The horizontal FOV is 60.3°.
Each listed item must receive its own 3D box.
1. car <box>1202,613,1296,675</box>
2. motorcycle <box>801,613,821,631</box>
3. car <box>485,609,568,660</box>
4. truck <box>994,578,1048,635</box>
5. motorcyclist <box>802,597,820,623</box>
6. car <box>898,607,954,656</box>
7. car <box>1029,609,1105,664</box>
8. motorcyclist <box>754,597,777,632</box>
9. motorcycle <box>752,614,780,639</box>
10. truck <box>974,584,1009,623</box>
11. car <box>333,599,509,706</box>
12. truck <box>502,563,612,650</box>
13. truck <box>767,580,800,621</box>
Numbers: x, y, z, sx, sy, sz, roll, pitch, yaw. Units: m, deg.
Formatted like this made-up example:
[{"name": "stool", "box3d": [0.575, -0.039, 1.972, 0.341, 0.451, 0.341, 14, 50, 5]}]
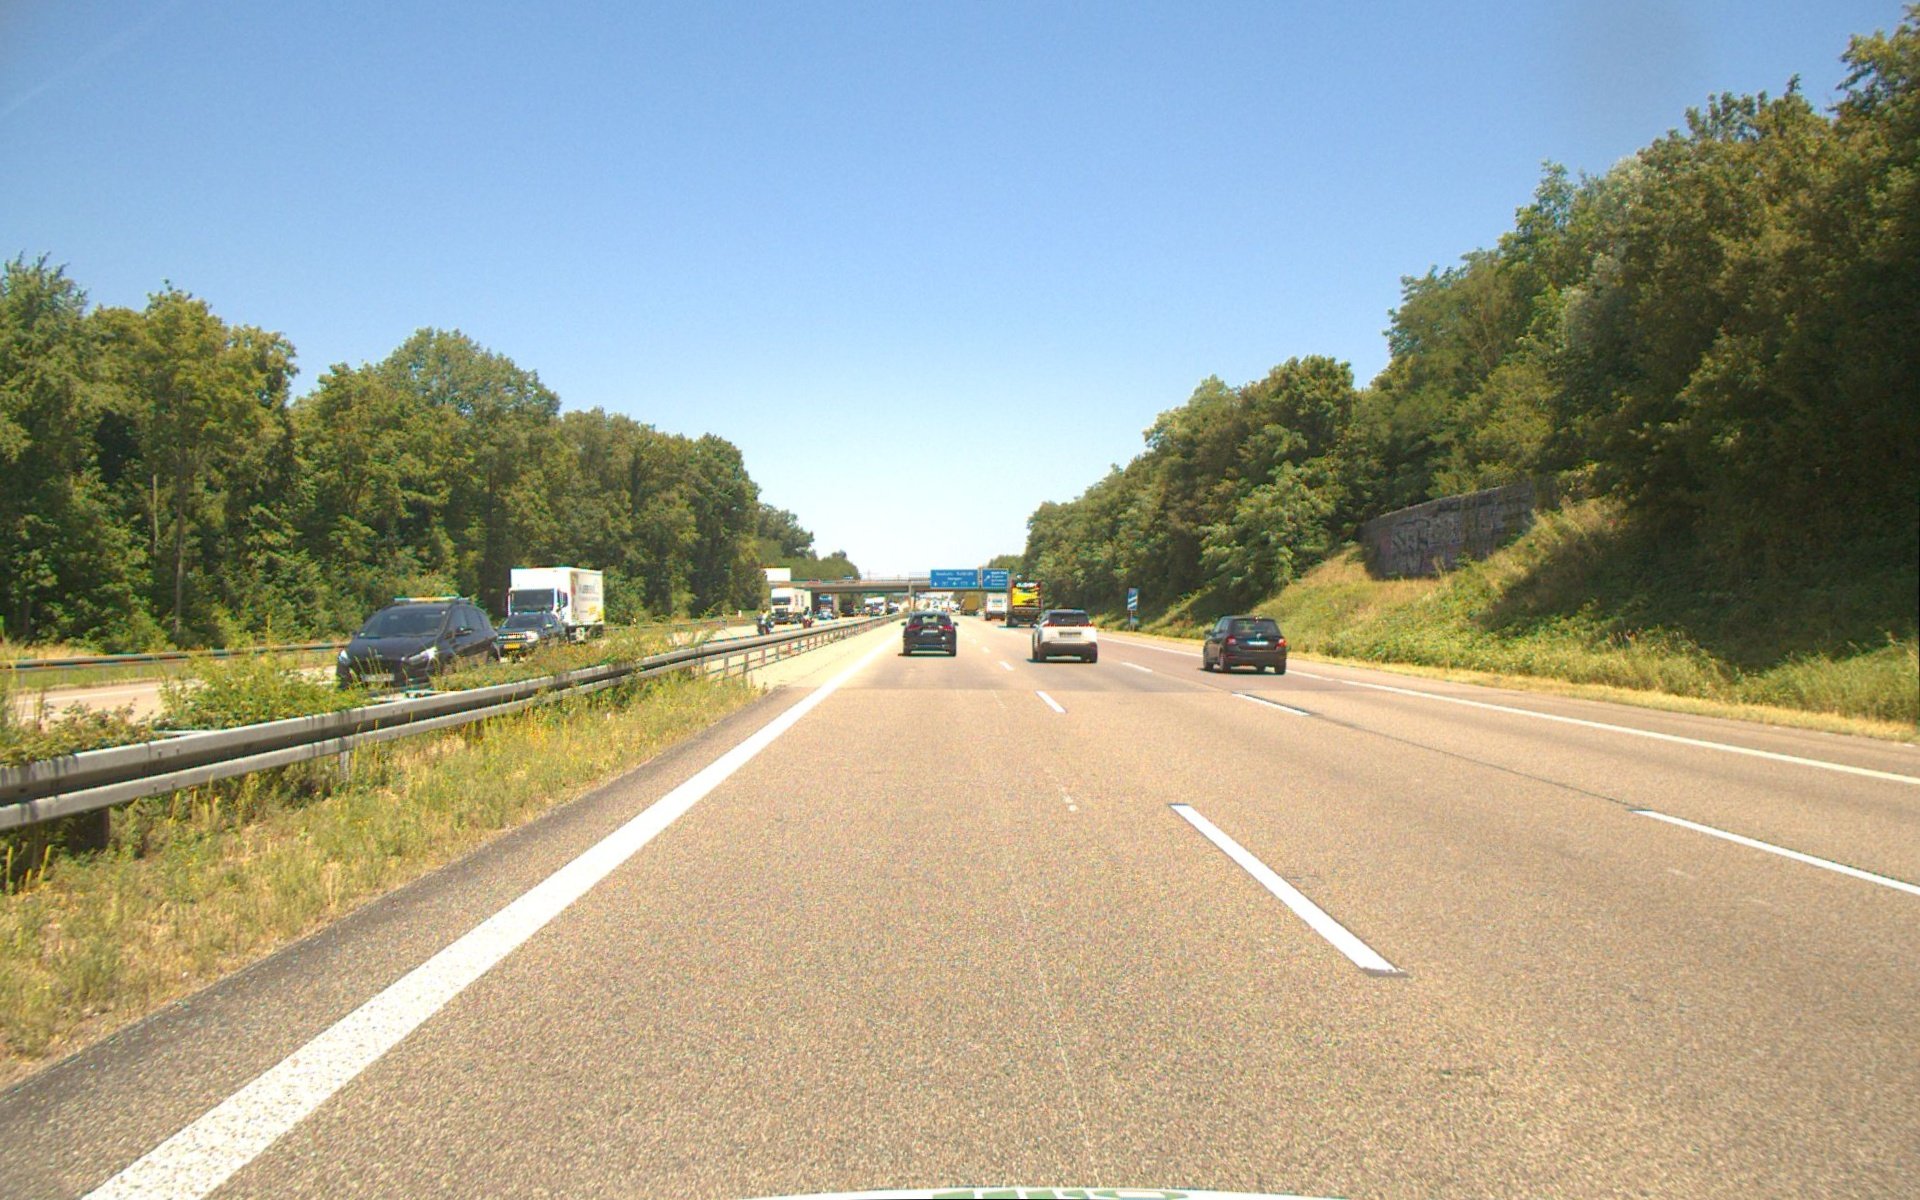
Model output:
[{"name": "car", "box3d": [7.444, 1.094, 42.952, 1.753, 1.487, 3.949, 1, 0, 0]}, {"name": "motorcycle", "box3d": [-10.603, 1.567, 117.927, 1.130, 1.272, 3.809, -1, 0, -1]}, {"name": "car", "box3d": [-14.218, 1.105, 54.473, 1.763, 1.559, 4.239, 1, 0, -2]}, {"name": "truck", "box3d": [5.274, 0.623, 145.757, 3.574, 4.670, 15.760, 1, 0, -2]}, {"name": "motorcyclist", "box3d": [-10.611, 0.695, 117.799, 1.129, 1.847, 1.027, -1, -1, -1]}, {"name": "car", "box3d": [-1.156, 1.026, 54.922, 1.763, 1.528, 4.240, 1, 0, -2]}, {"name": "car", "box3d": [3.178, 1.060, 49.787, 1.861, 1.559, 4.240, 1, 0, -2]}, {"name": "motorcyclist", "box3d": [-10.544, 0.788, 89.655, 1.129, 1.847, 1.027, -1, -1, -1]}, {"name": "motorcycle", "box3d": [-10.543, 1.422, 89.951, 1.130, 1.272, 3.809, -1, 0, -1]}, {"name": "truck", "box3d": [3.943, 0.510, 213.117, 3.574, 4.670, 17.240, 1, 0, -2]}, {"name": "car", "box3d": [-9.410, 0.864, 29.229, 1.763, 1.725, 4.240, 1, 0, -1]}, {"name": "truck", "box3d": [-18.570, 0.300, 76.923, 2.739, 3.696, 10.693, -1, 0, -2]}, {"name": "truck", "box3d": [-20.491, 0.098, 192.697, 2.897, 4.594, 12.634, -1, 0, -2]}]
